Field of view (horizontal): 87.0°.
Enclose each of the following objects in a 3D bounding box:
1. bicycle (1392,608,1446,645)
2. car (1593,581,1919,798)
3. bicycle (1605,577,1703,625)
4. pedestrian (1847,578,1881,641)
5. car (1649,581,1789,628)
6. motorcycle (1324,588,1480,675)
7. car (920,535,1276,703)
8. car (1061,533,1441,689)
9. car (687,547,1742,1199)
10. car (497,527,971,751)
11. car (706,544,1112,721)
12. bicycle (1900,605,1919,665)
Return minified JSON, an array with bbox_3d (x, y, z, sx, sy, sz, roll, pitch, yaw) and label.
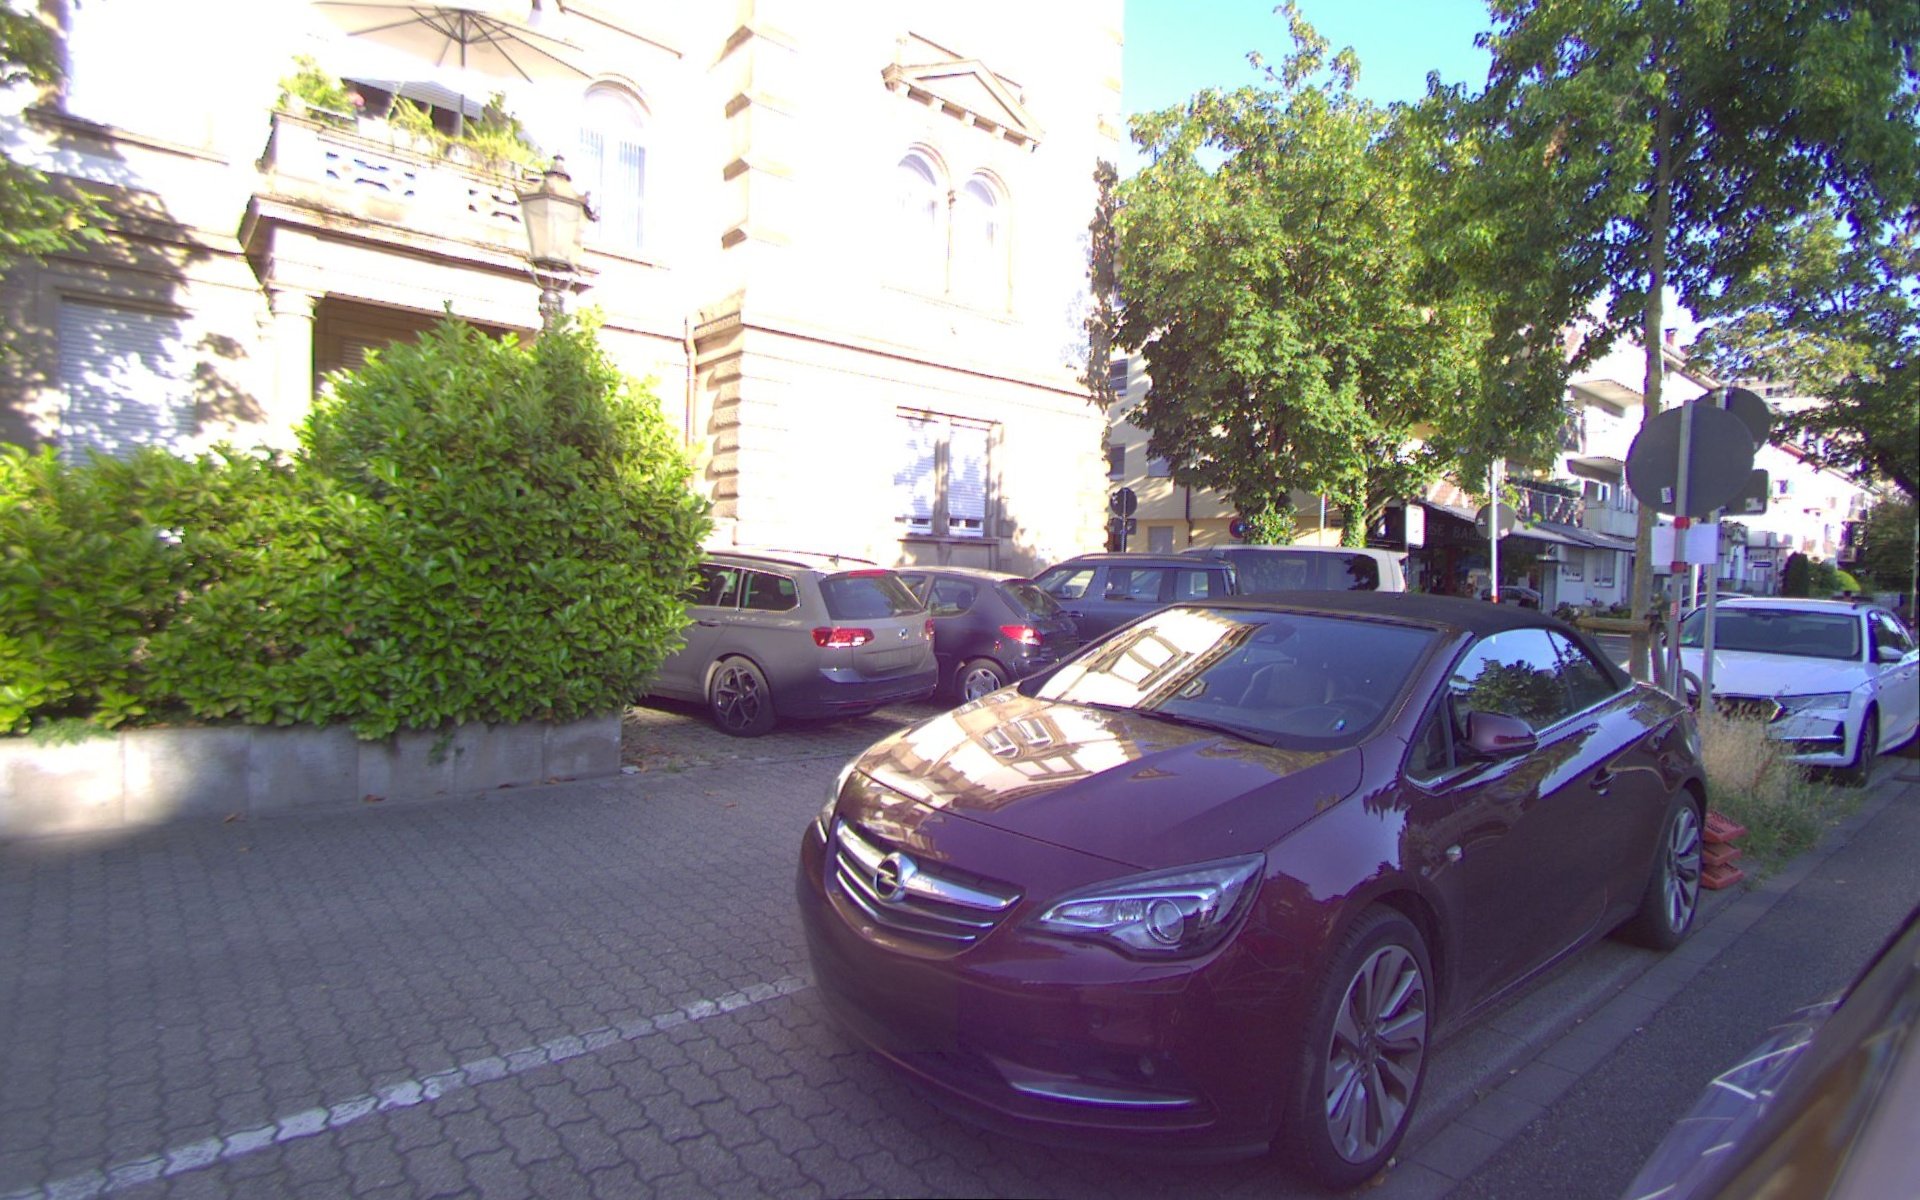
[{"bbox_3d":[10.475,0.592,23.080,1.504,0.777,0.486,0,2,-40],"label":"bicycle"},{"bbox_3d":[7.703,0.622,9.358,4.540,1.496,1.825,0,2,-40],"label":"car"},{"bbox_3d":[22.666,0.006,33.098,0.912,1.459,2.457,0,2,-42],"label":"bicycle"},{"bbox_3d":[26.232,0.282,29.364,0.552,1.794,0.619,2,1,-40],"label":"pedestrian"},{"bbox_3d":[27.484,0.116,36.736,1.550,1.523,3.869,0,2,-45],"label":"car"},{"bbox_3d":[7.115,0.464,16.360,2.153,1.255,0.778,3,2,40],"label":"motorcycle"},{"bbox_3d":[1.729,0.141,12.549,4.050,1.720,1.776,3,2,21],"label":"car"},{"bbox_3d":[4.070,0.062,14.484,4.881,1.923,1.907,2,1,22],"label":"car"},{"bbox_3d":[1.430,0.615,4.037,4.534,1.437,1.761,0,4,-41],"label":"car"},{"bbox_3d":[-2.180,0.201,9.358,4.220,1.529,1.772,5,3,32],"label":"car"},{"bbox_3d":[-0.586,0.236,10.970,4.061,1.458,1.701,4,3,27],"label":"car"},{"bbox_3d":[19.789,0.757,19.850,0.602,1.176,1.905,1,3,-13],"label":"bicycle"}]
